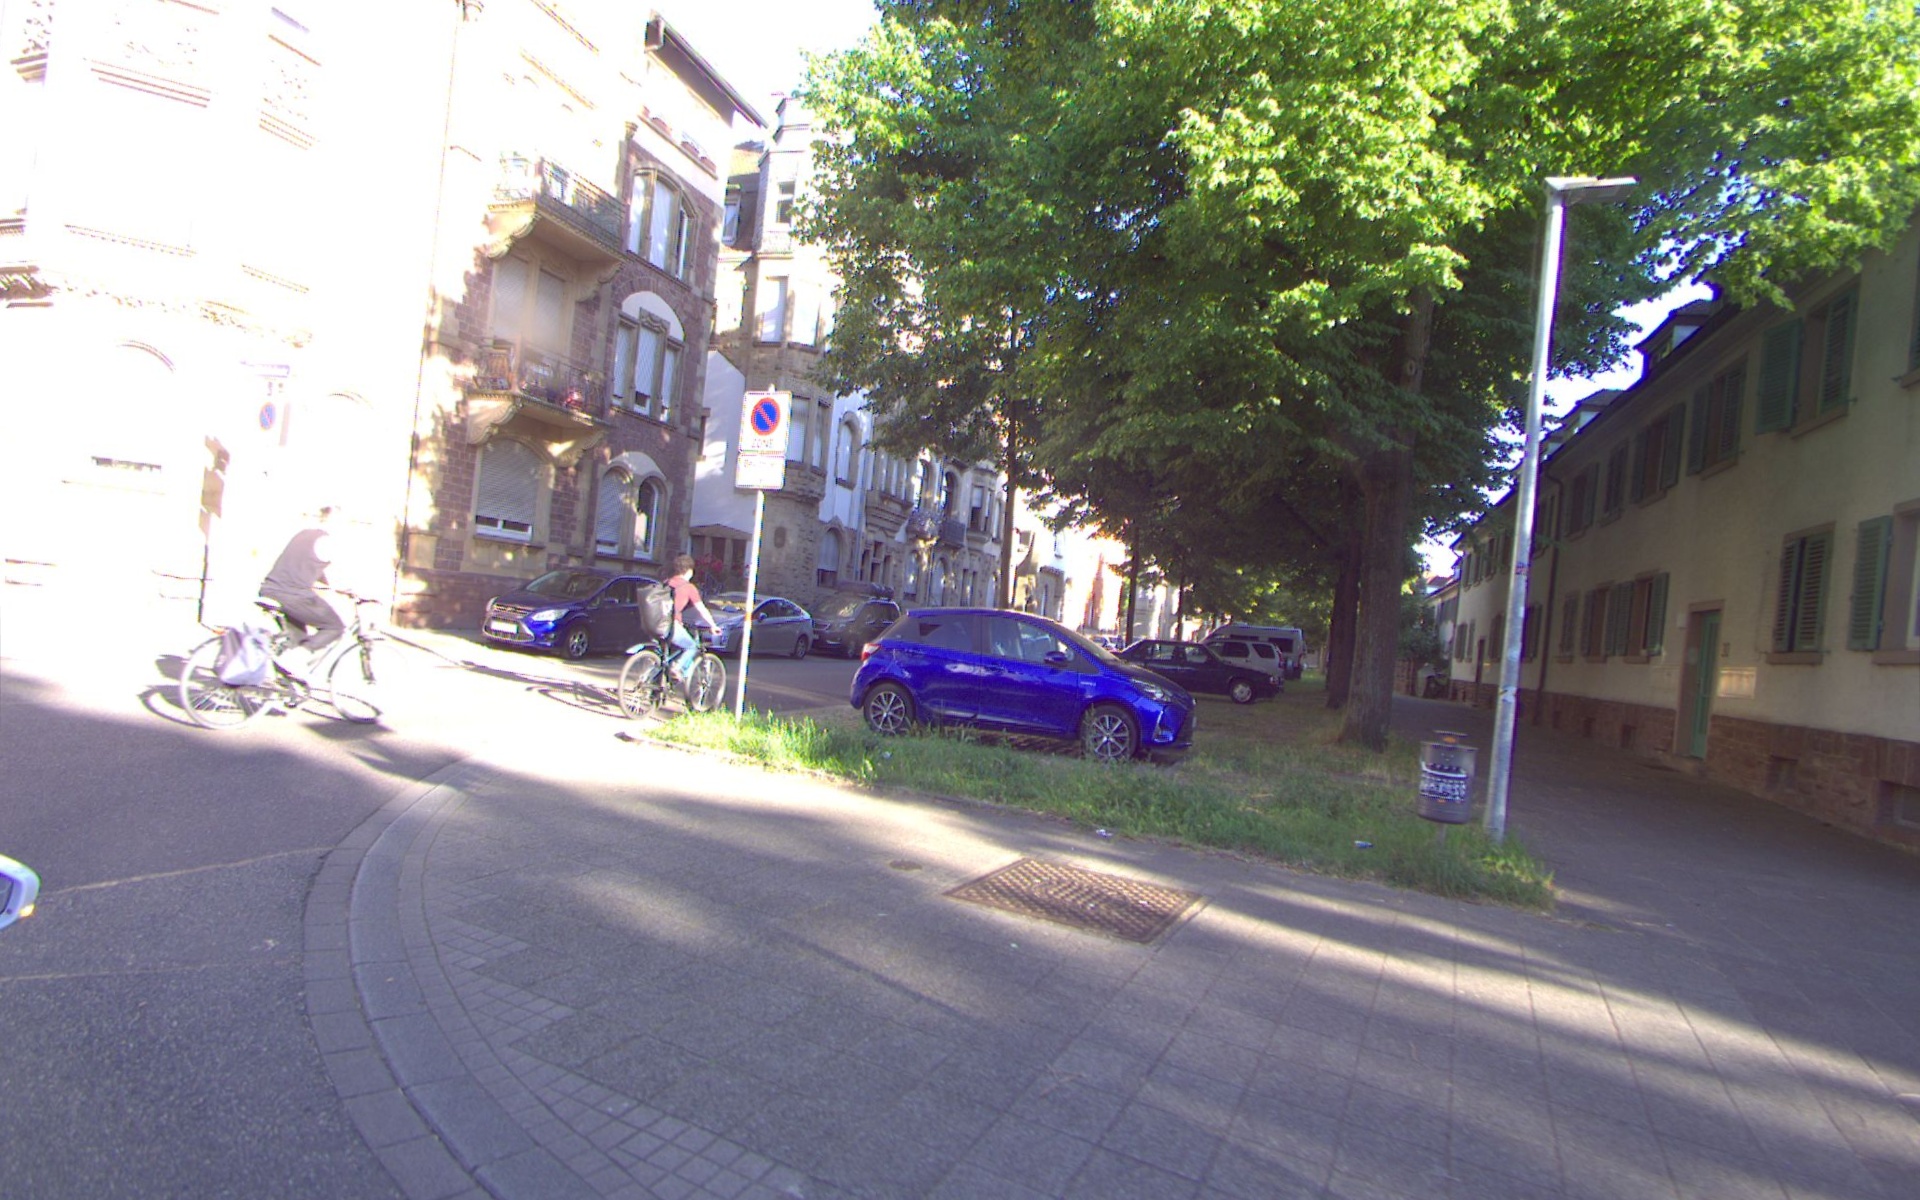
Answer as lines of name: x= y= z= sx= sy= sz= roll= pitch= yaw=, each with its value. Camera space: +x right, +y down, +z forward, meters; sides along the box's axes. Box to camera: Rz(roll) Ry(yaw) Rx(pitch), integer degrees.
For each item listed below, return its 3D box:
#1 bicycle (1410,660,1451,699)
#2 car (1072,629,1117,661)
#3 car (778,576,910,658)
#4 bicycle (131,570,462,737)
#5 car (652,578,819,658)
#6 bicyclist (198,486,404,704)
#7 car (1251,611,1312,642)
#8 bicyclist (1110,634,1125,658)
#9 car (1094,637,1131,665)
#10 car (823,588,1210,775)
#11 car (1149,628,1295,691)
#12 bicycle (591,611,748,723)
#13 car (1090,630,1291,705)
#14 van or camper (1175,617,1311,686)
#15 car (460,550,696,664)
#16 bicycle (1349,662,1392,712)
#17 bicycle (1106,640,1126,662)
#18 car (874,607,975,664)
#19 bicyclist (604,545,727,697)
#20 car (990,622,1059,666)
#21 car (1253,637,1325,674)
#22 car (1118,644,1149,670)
bicycle: x=18.958 y=3.170 z=40.608 sx=0.787 sy=1.416 sz=2.006 roll=6 pitch=-1 yaw=7
car: x=8.328 y=2.810 z=62.033 sx=1.728 sy=1.535 sz=4.117 roll=10 pitch=-1 yaw=20
car: x=-3.268 y=0.575 z=29.317 sx=1.938 sy=1.998 sz=4.500 roll=7 pitch=-1 yaw=18
bicycle: x=-5.044 y=0.450 z=7.818 sx=0.686 sy=1.085 sz=1.967 roll=6 pitch=-2 yaw=29
car: x=-5.181 y=0.506 z=23.870 sx=1.702 sy=1.517 sz=4.457 roll=7 pitch=-1 yaw=18
bicyclist: x=-5.065 y=-0.010 z=7.772 sx=0.696 sy=1.544 sz=0.971 roll=6 pitch=-2 yaw=28
car: x=24.014 y=2.007 z=75.122 sx=4.179 sy=1.861 sz=1.856 roll=4 pitch=-2 yaw=21
bicyclist: x=9.424 y=2.761 z=60.209 sx=0.654 sy=1.362 sz=1.060 roll=5 pitch=0 yaw=17
car: x=10.187 y=3.411 z=67.012 sx=1.468 sy=1.535 sz=3.777 roll=10 pitch=-1 yaw=20
car: x=0.712 y=0.874 z=11.499 sx=3.925 sy=1.573 sz=2.002 roll=4 pitch=-2 yaw=18
car: x=8.586 y=1.917 z=32.874 sx=4.406 sy=1.690 sz=1.942 roll=3 pitch=-1 yaw=19
bicycle: x=-3.196 y=0.764 z=11.295 sx=0.547 sy=1.085 sz=1.970 roll=6 pitch=-2 yaw=19
car: x=5.971 y=1.725 z=26.000 sx=4.818 sy=1.458 sz=1.944 roll=4 pitch=-3 yaw=18
van or camper: x=12.508 y=2.271 z=44.447 sx=5.488 sy=2.566 sz=2.270 roll=4 pitch=-3 yaw=18
car: x=-6.967 y=0.232 z=18.890 sx=1.702 sy=1.640 sz=4.263 roll=7 pitch=-2 yaw=18
bicycle: x=10.807 y=2.267 z=26.532 sx=0.618 sy=1.177 sz=1.936 roll=6 pitch=-1 yaw=12
bicycle: x=9.269 y=3.012 z=59.779 sx=0.741 sy=1.192 sz=2.621 roll=5 pitch=-1 yaw=16
car: x=-1.152 y=1.298 z=35.389 sx=1.703 sy=1.592 sz=4.712 roll=6 pitch=-2 yaw=21
bicyclist: x=-3.227 y=0.251 z=11.079 sx=0.707 sy=1.544 sz=0.973 roll=6 pitch=-1 yaw=19
car: x=3.017 y=2.054 z=46.290 sx=2.018 sy=1.640 sz=4.400 roll=6 pitch=-2 yaw=18
car: x=36.078 y=6.114 z=110.305 sx=7.222 sy=3.320 sz=2.224 roll=4 pitch=-2 yaw=21
car: x=13.083 y=4.296 z=75.757 sx=1.605 sy=1.684 sz=3.972 roll=6 pitch=-2 yaw=19
